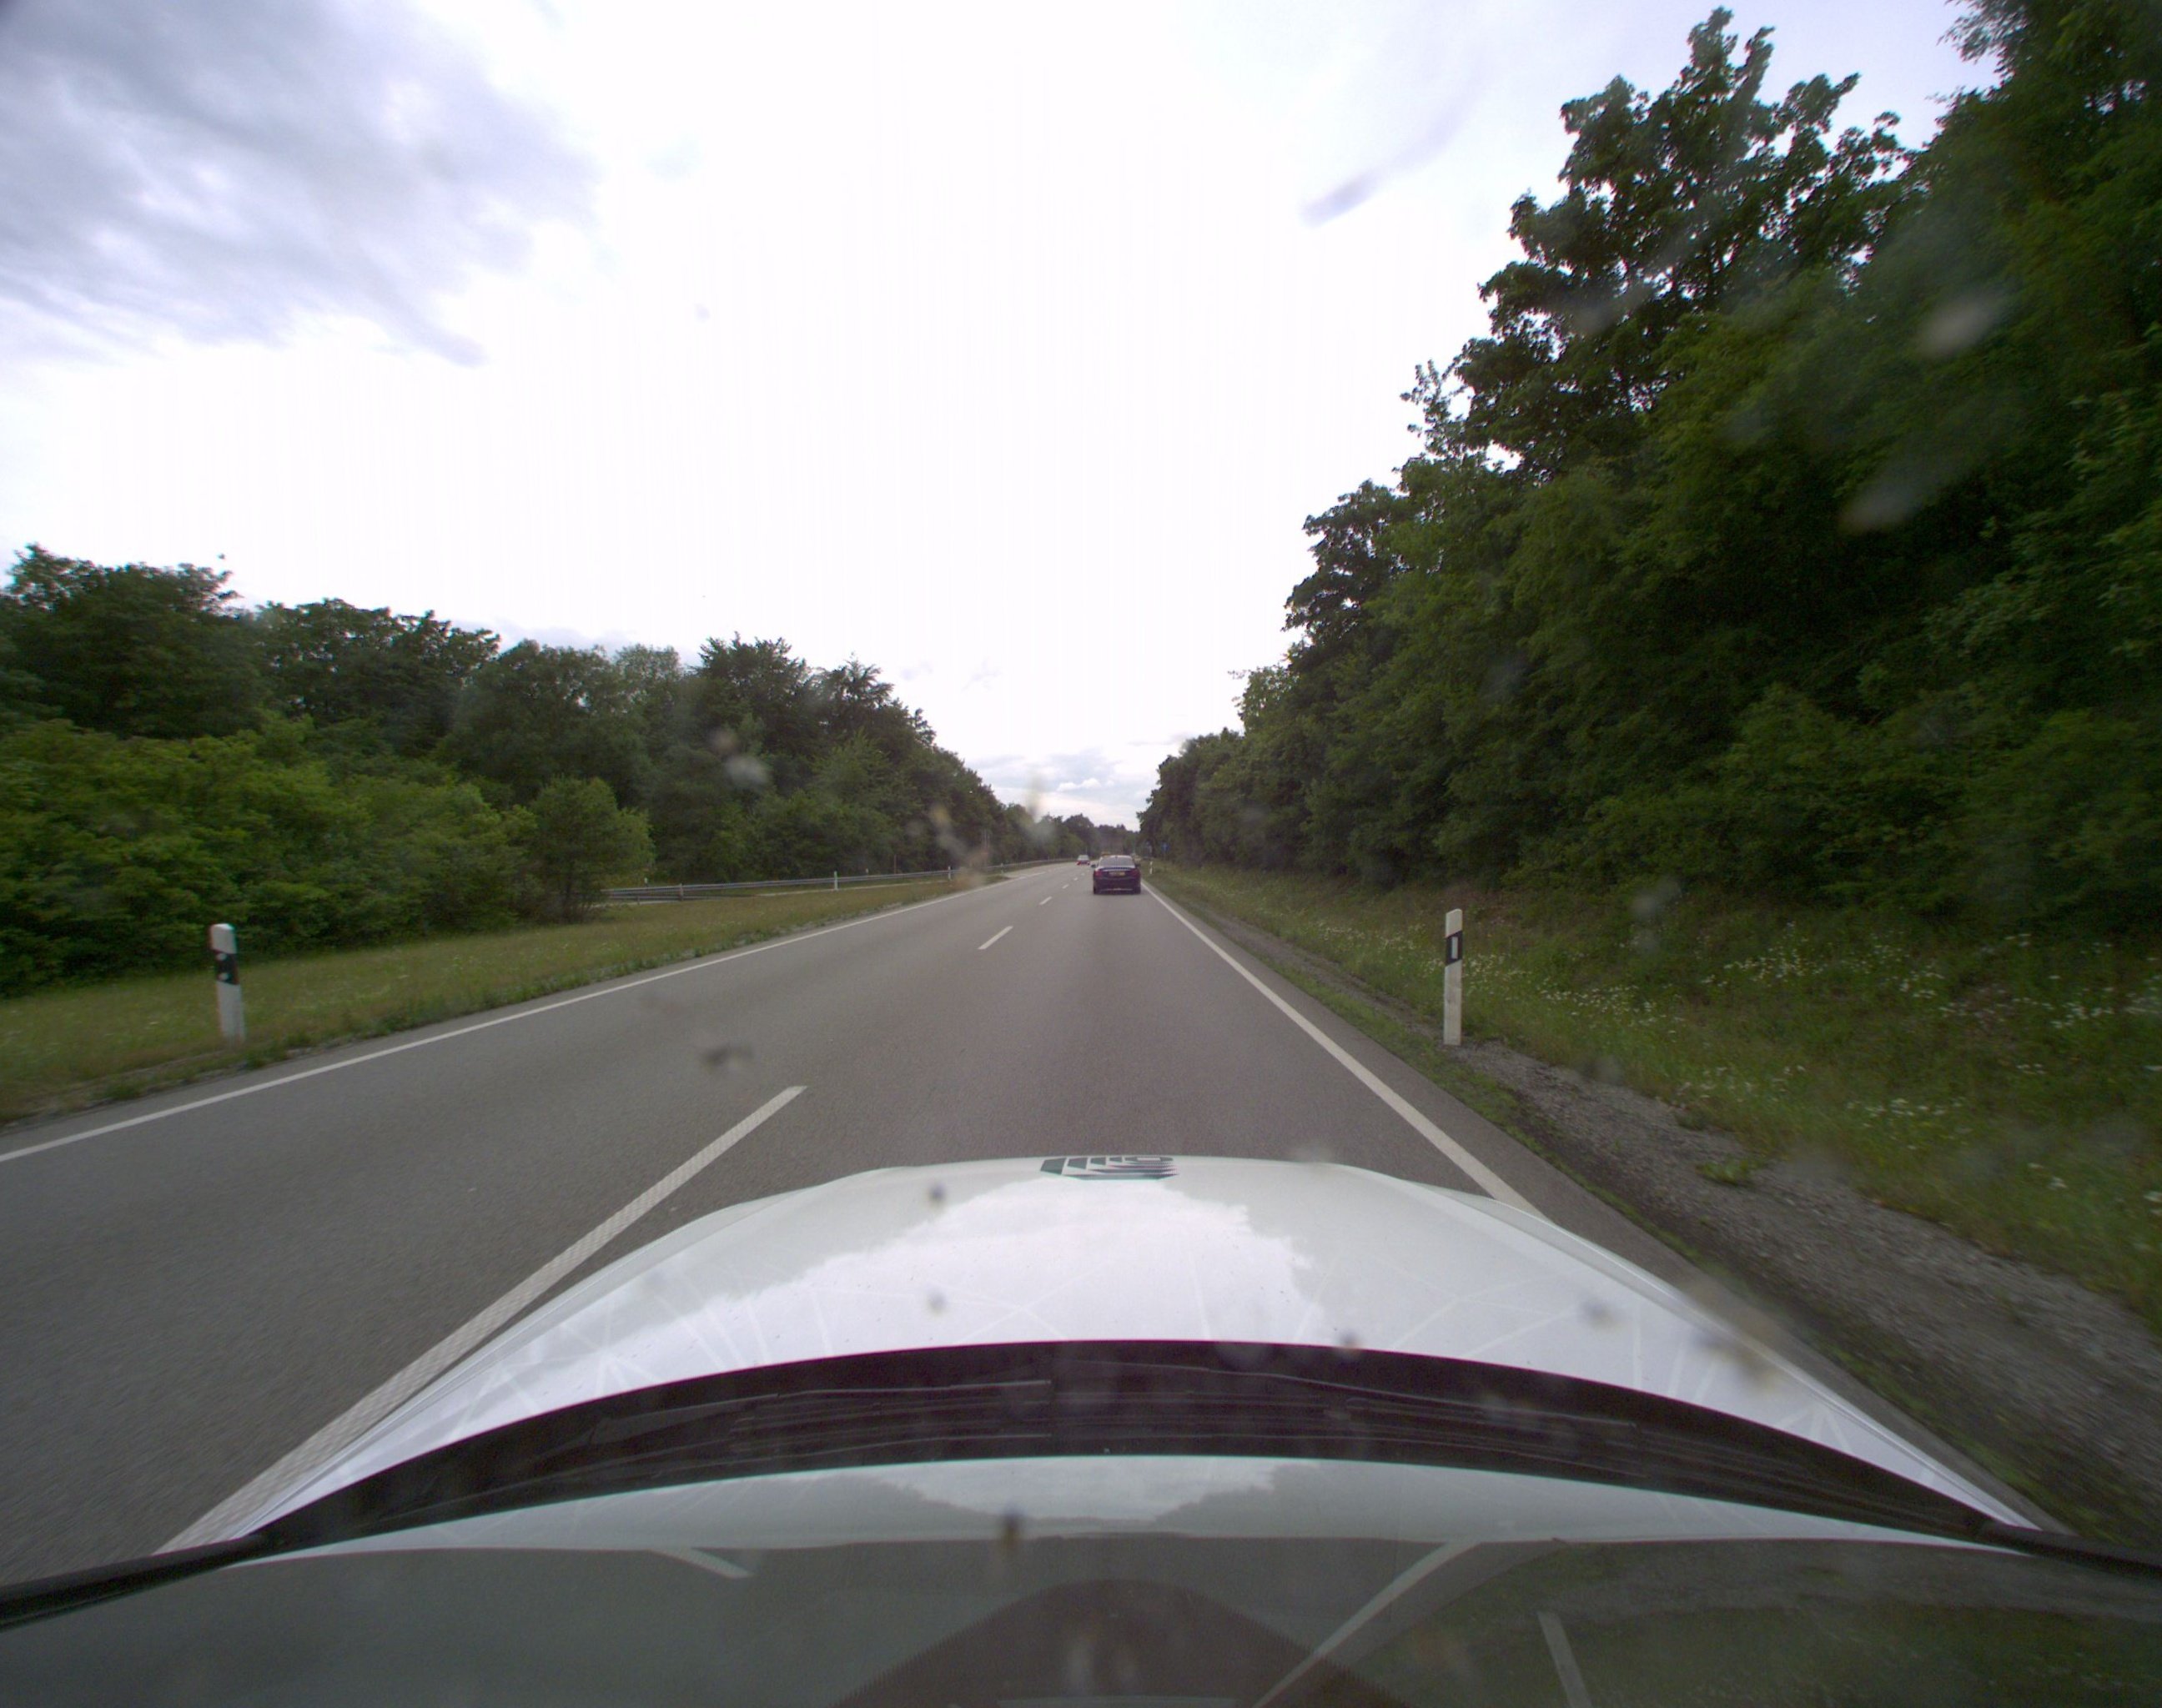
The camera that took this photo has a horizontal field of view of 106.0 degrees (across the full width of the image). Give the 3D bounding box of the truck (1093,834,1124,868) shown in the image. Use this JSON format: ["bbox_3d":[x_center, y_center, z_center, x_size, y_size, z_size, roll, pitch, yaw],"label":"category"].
[{"bbox_3d":[3.174,-0.322,91.749,3.268,3.611,11.406,-1,0,2],"label":"truck"}]

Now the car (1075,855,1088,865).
[{"bbox_3d":[0.096,0.857,122.601,1.802,1.442,4.447,-1,0,0],"label":"car"}]

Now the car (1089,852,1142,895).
[{"bbox_3d":[1.298,0.713,31.985,1.786,1.552,3.997,-1,0,-2],"label":"car"}]
